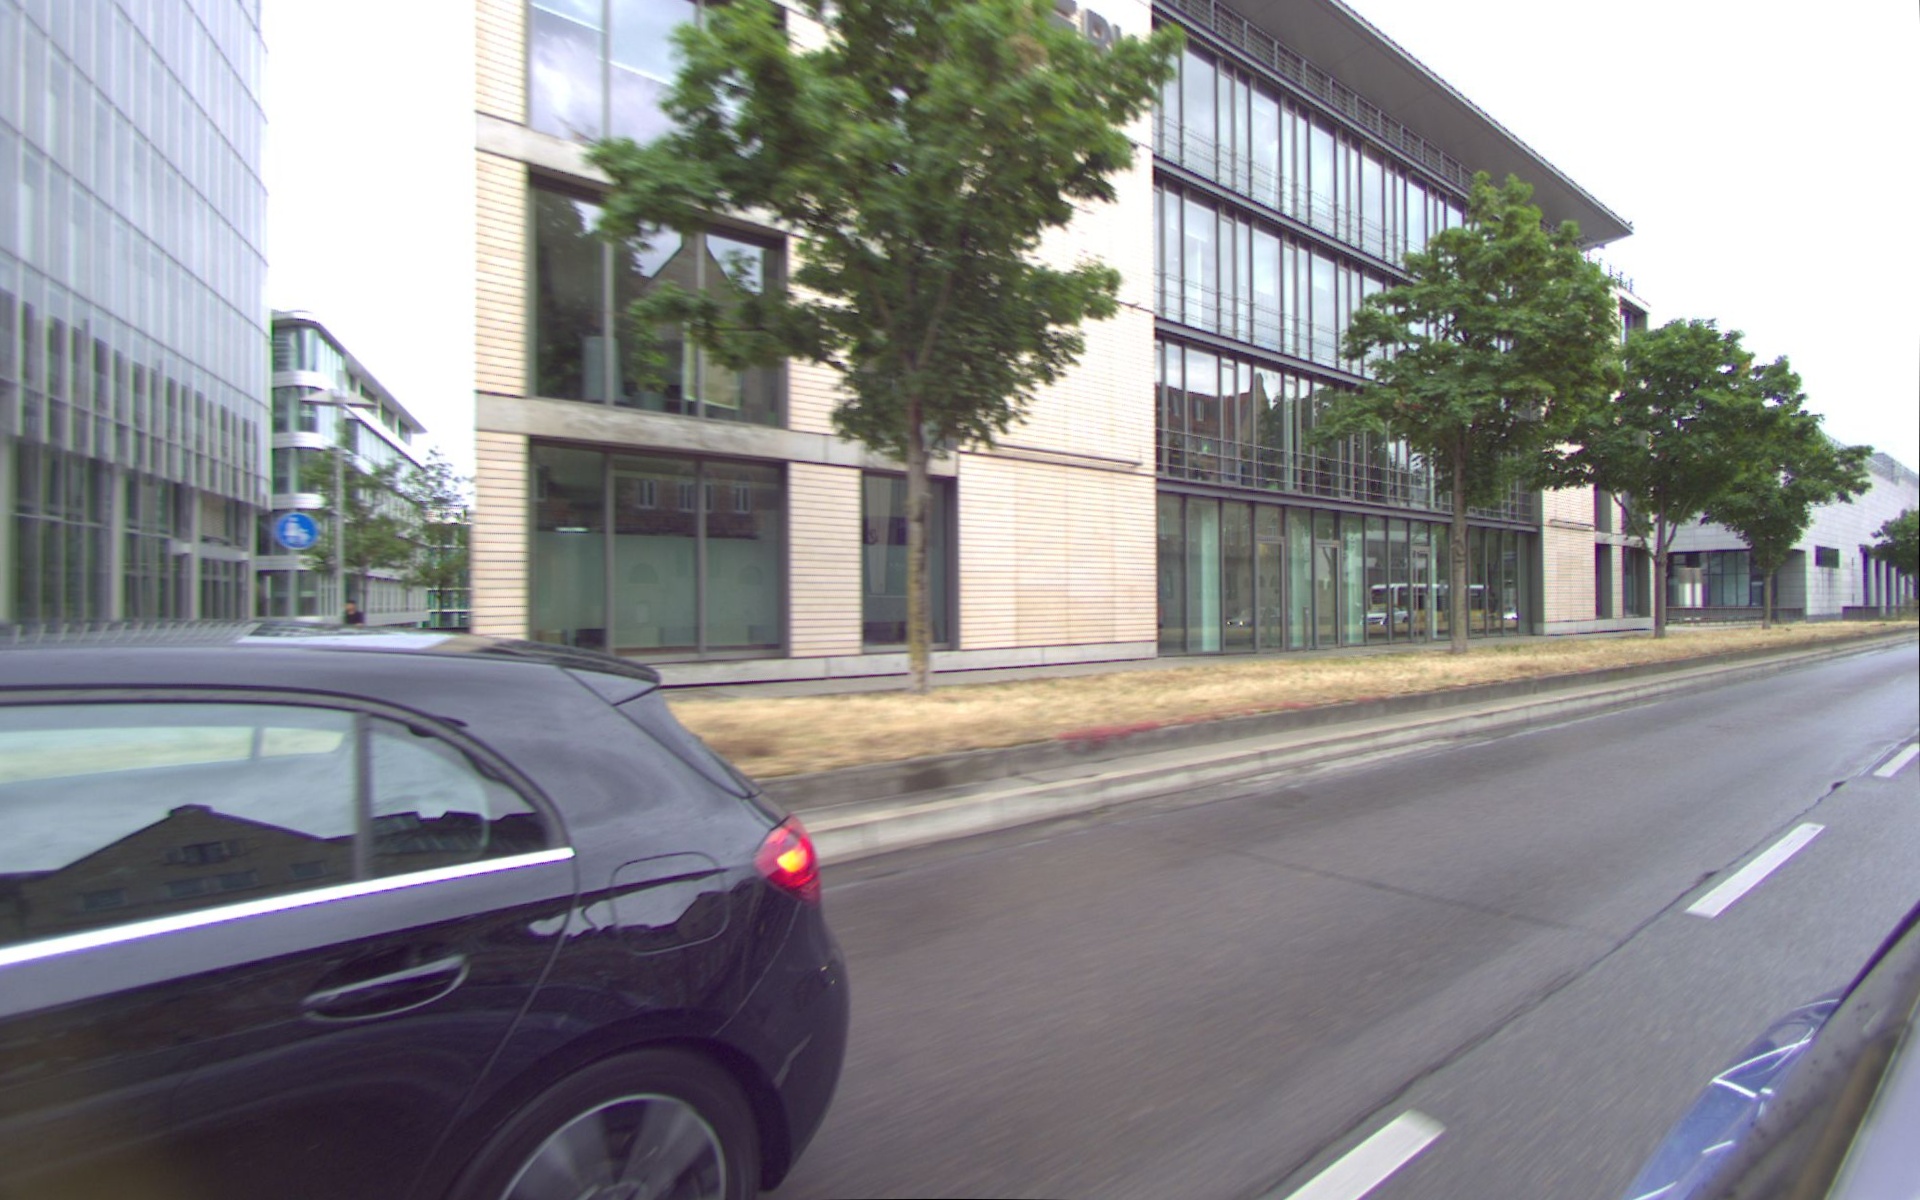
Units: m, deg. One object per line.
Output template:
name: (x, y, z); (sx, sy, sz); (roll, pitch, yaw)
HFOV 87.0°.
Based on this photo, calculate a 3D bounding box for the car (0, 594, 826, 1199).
car: (-2.448, 0.704, 1.446); (4.132, 1.455, 1.875); (1, -1, -41)

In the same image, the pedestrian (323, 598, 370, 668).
pedestrian: (-15.548, 0.835, 25.659); (0.850, 1.743, 0.552); (2, -1, -17)
